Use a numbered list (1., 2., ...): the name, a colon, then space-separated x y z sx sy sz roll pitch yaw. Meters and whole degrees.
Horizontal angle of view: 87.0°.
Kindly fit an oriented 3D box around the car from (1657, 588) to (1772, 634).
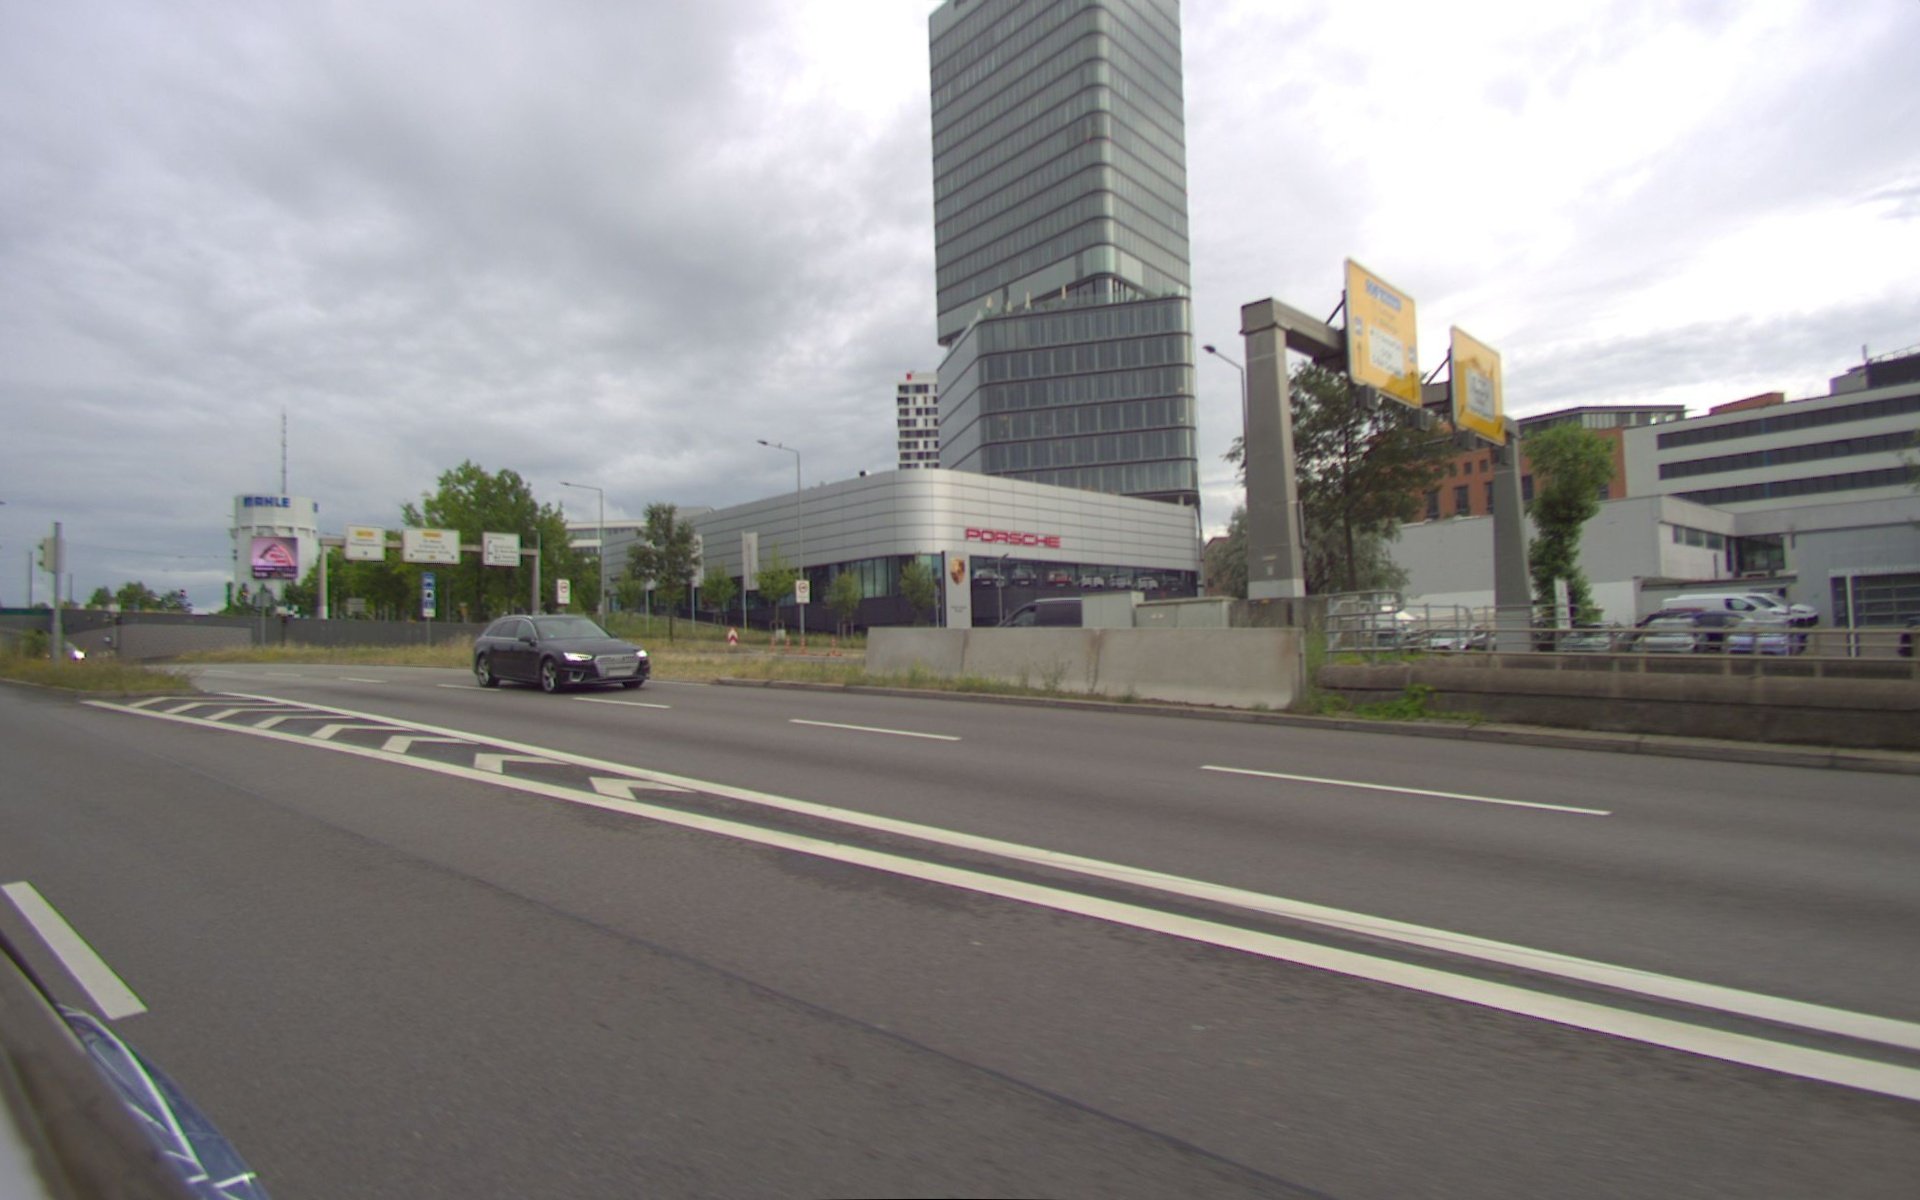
1. car: 36.205 0.547 48.623 1.969 1.896 4.006 -2 -2 -40

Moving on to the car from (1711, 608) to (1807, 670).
1. car: 25.775 1.235 32.588 1.924 1.696 3.942 -5 -2 44

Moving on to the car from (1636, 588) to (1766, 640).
1. car: 31.083 0.612 42.532 1.878 1.896 4.006 -2 -2 -40

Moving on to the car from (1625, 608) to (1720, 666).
1. car: 24.224 1.230 34.366 1.924 1.696 3.942 -5 -2 44

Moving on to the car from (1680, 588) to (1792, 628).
1. car: 38.356 0.397 50.089 1.893 1.696 4.006 -2 -2 -41

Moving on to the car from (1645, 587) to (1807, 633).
1. car: 34.998 0.488 46.395 1.969 1.896 5.544 -2 0 -40

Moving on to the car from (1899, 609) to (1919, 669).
1. car: 29.598 1.022 28.242 1.890 1.696 4.516 -3 -2 -28

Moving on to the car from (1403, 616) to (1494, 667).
1. car: 19.031 1.592 39.347 1.924 1.696 3.942 -5 -2 44

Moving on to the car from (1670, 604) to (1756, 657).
1. car: 27.677 1.101 37.140 1.924 1.696 3.942 -5 -2 44

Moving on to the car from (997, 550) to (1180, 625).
1. car: 3.397 -0.296 27.303 4.627 1.843 1.792 -1 0 39

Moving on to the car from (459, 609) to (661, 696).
1. car: -7.816 0.941 19.537 4.631 1.430 1.790 -1 0 43

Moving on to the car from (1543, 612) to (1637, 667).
1. car: 22.439 1.387 35.998 1.924 1.696 3.942 -5 -2 44

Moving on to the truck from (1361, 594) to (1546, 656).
1. truck: 23.248 1.239 48.042 2.338 2.547 7.416 -2 -2 -44

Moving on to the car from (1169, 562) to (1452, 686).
1. car: 5.147 0.393 15.090 3.548 1.602 1.670 -5 -2 42
